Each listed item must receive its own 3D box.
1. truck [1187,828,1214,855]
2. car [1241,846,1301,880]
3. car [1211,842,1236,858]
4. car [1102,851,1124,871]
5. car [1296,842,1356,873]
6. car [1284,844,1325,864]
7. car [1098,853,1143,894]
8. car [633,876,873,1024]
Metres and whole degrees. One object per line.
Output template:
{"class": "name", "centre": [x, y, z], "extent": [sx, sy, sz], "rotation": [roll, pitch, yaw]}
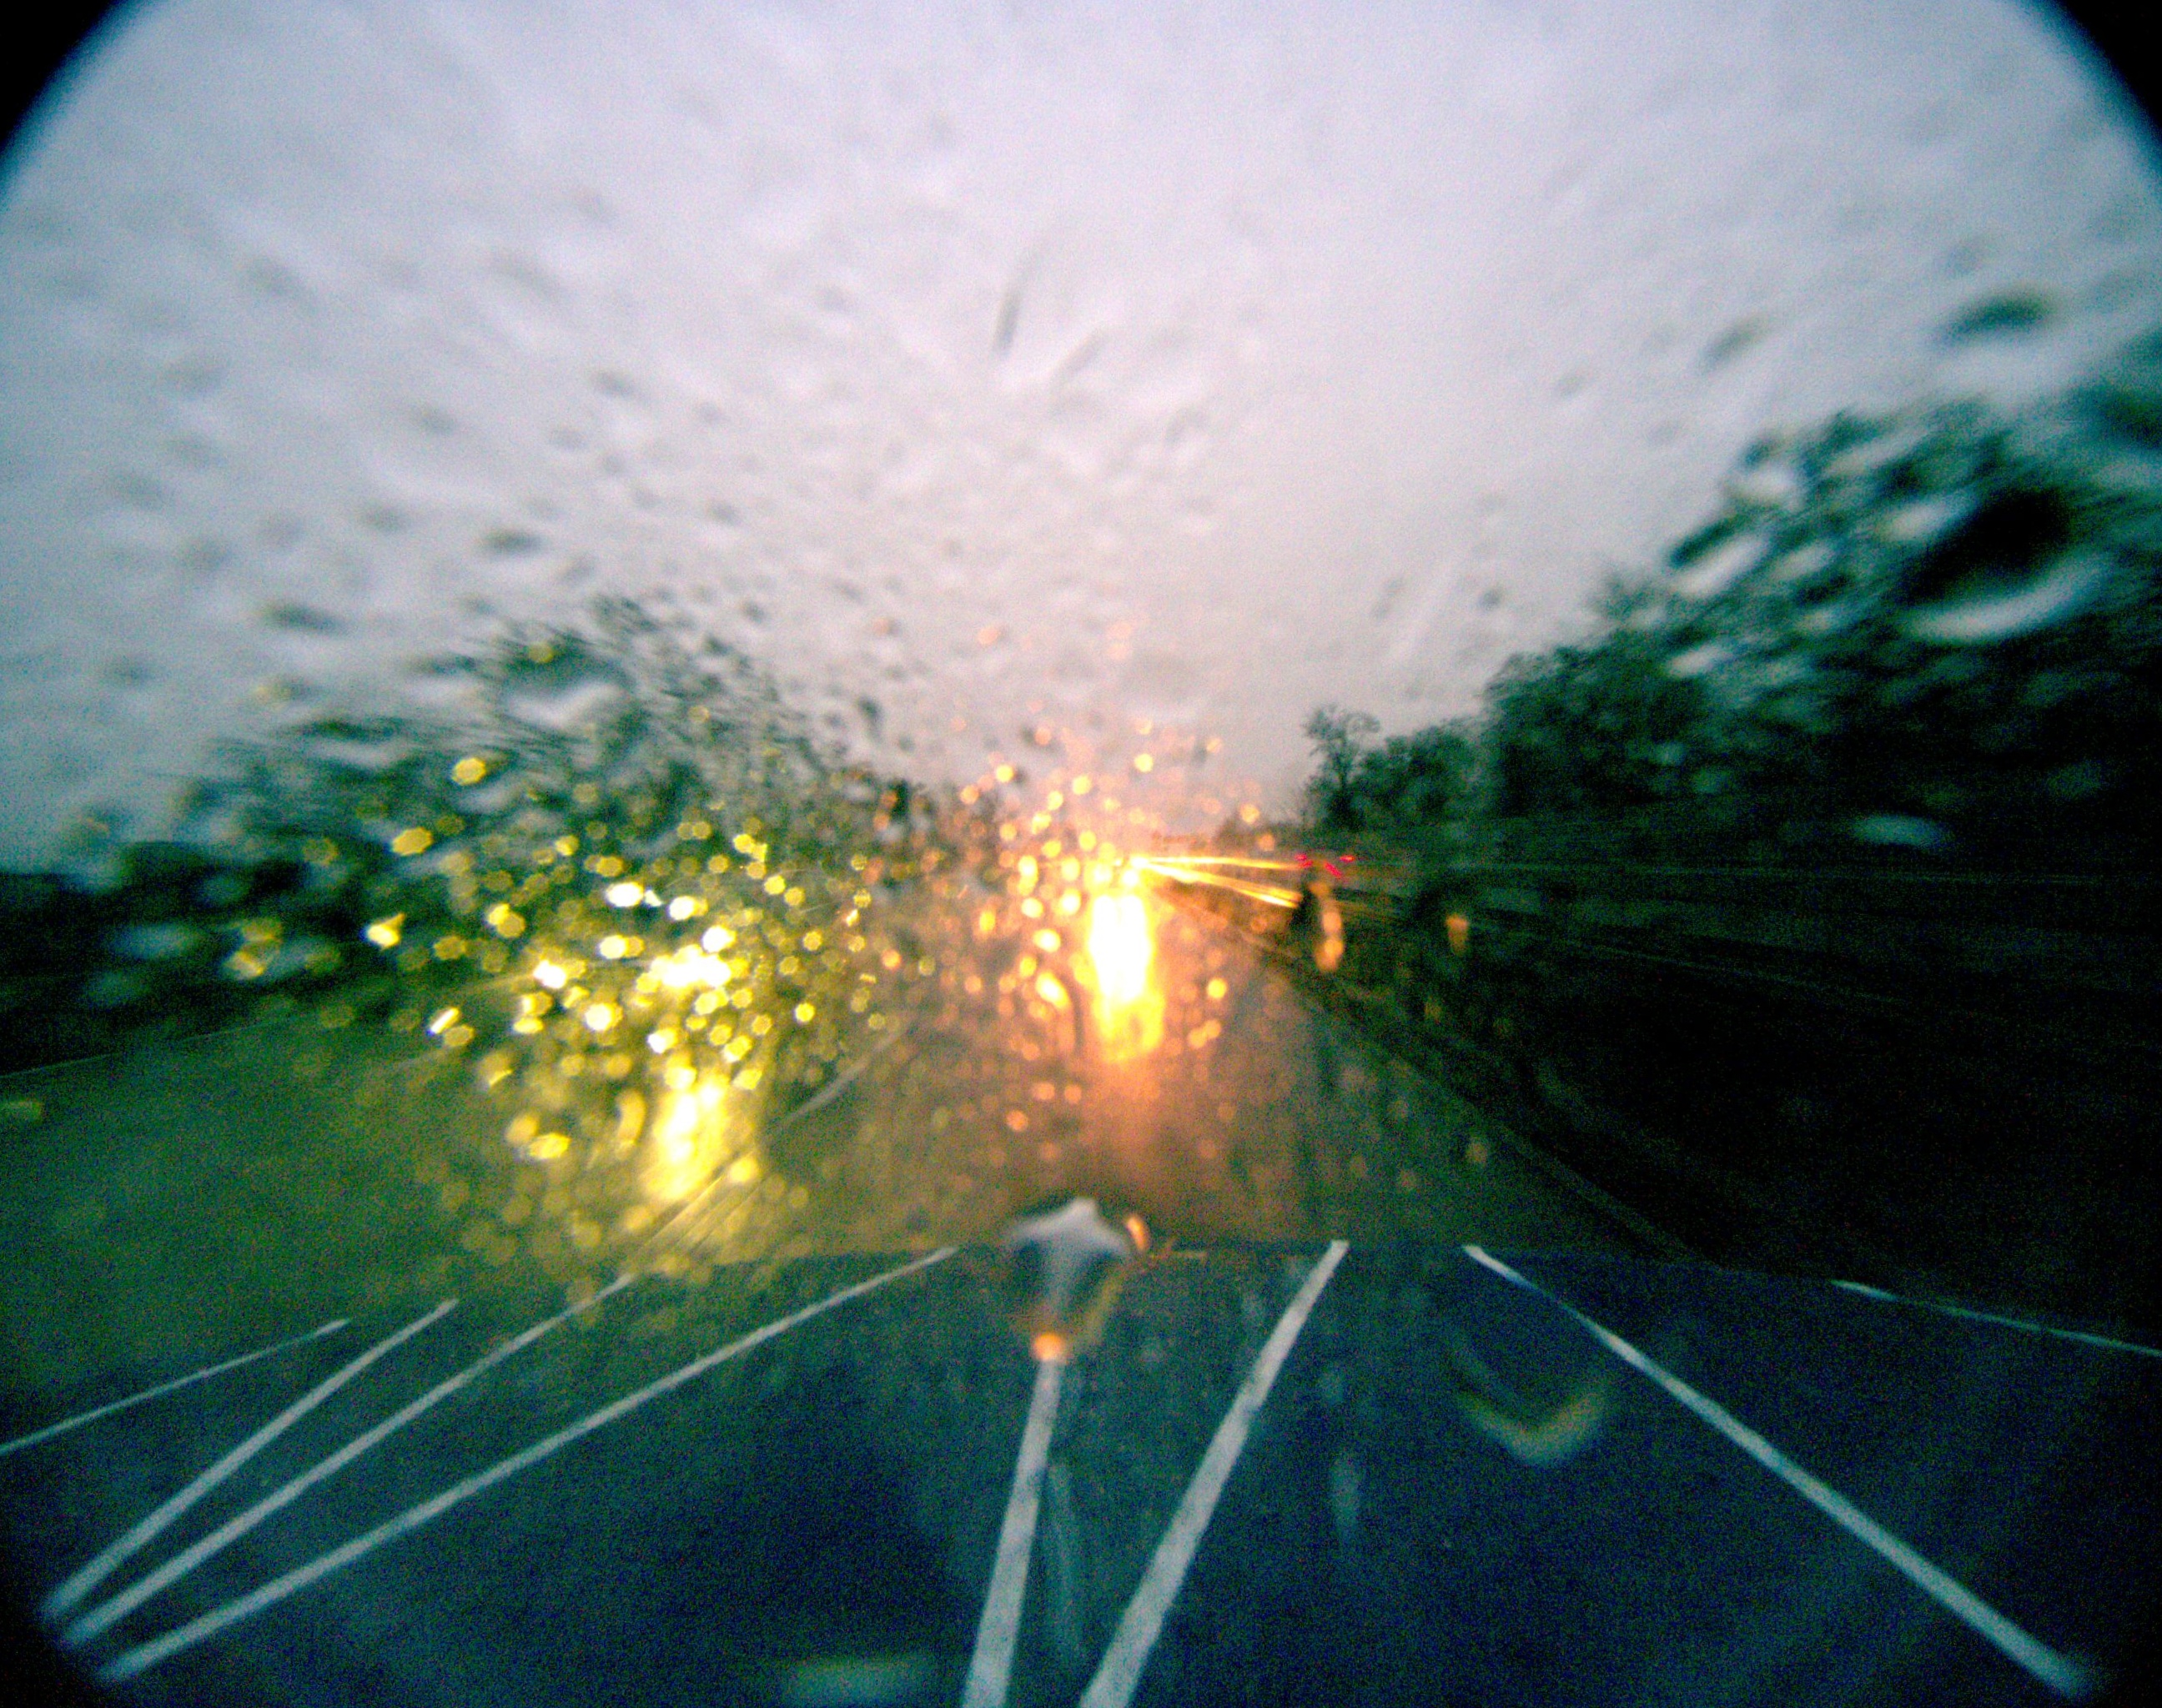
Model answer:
{"class": "truck", "centre": [18.135, -1.846, 115.726], "extent": [3.084, 3.835, 9.370], "rotation": [-2, 1, 3]}
{"class": "car", "centre": [9.260, 0.398, 37.453], "extent": [1.869, 1.473, 4.671], "rotation": [-2, 1, 2]}
{"class": "car", "centre": [15.509, -0.435, 82.875], "extent": [1.998, 1.639, 4.000], "rotation": [-2, 1, 2]}
{"class": "car", "centre": [2.632, 0.579, 63.062], "extent": [1.758, 1.521, 4.000], "rotation": [-2, 1, 2]}
{"class": "car", "centre": [13.145, 0.138, 41.011], "extent": [1.998, 1.505, 4.283], "rotation": [-2, 1, 2]}
{"class": "car", "centre": [18.102, -0.007, 61.772], "extent": [1.998, 1.505, 4.797], "rotation": [-2, 1, 2]}
{"class": "car", "centre": [1.664, 0.790, 32.687], "extent": [1.758, 1.521, 4.000], "rotation": [-2, 1, 2]}
{"class": "car", "centre": [-4.127, 1.097, 10.339], "extent": [1.595, 1.445, 4.175], "rotation": [-2, 0, -3]}
